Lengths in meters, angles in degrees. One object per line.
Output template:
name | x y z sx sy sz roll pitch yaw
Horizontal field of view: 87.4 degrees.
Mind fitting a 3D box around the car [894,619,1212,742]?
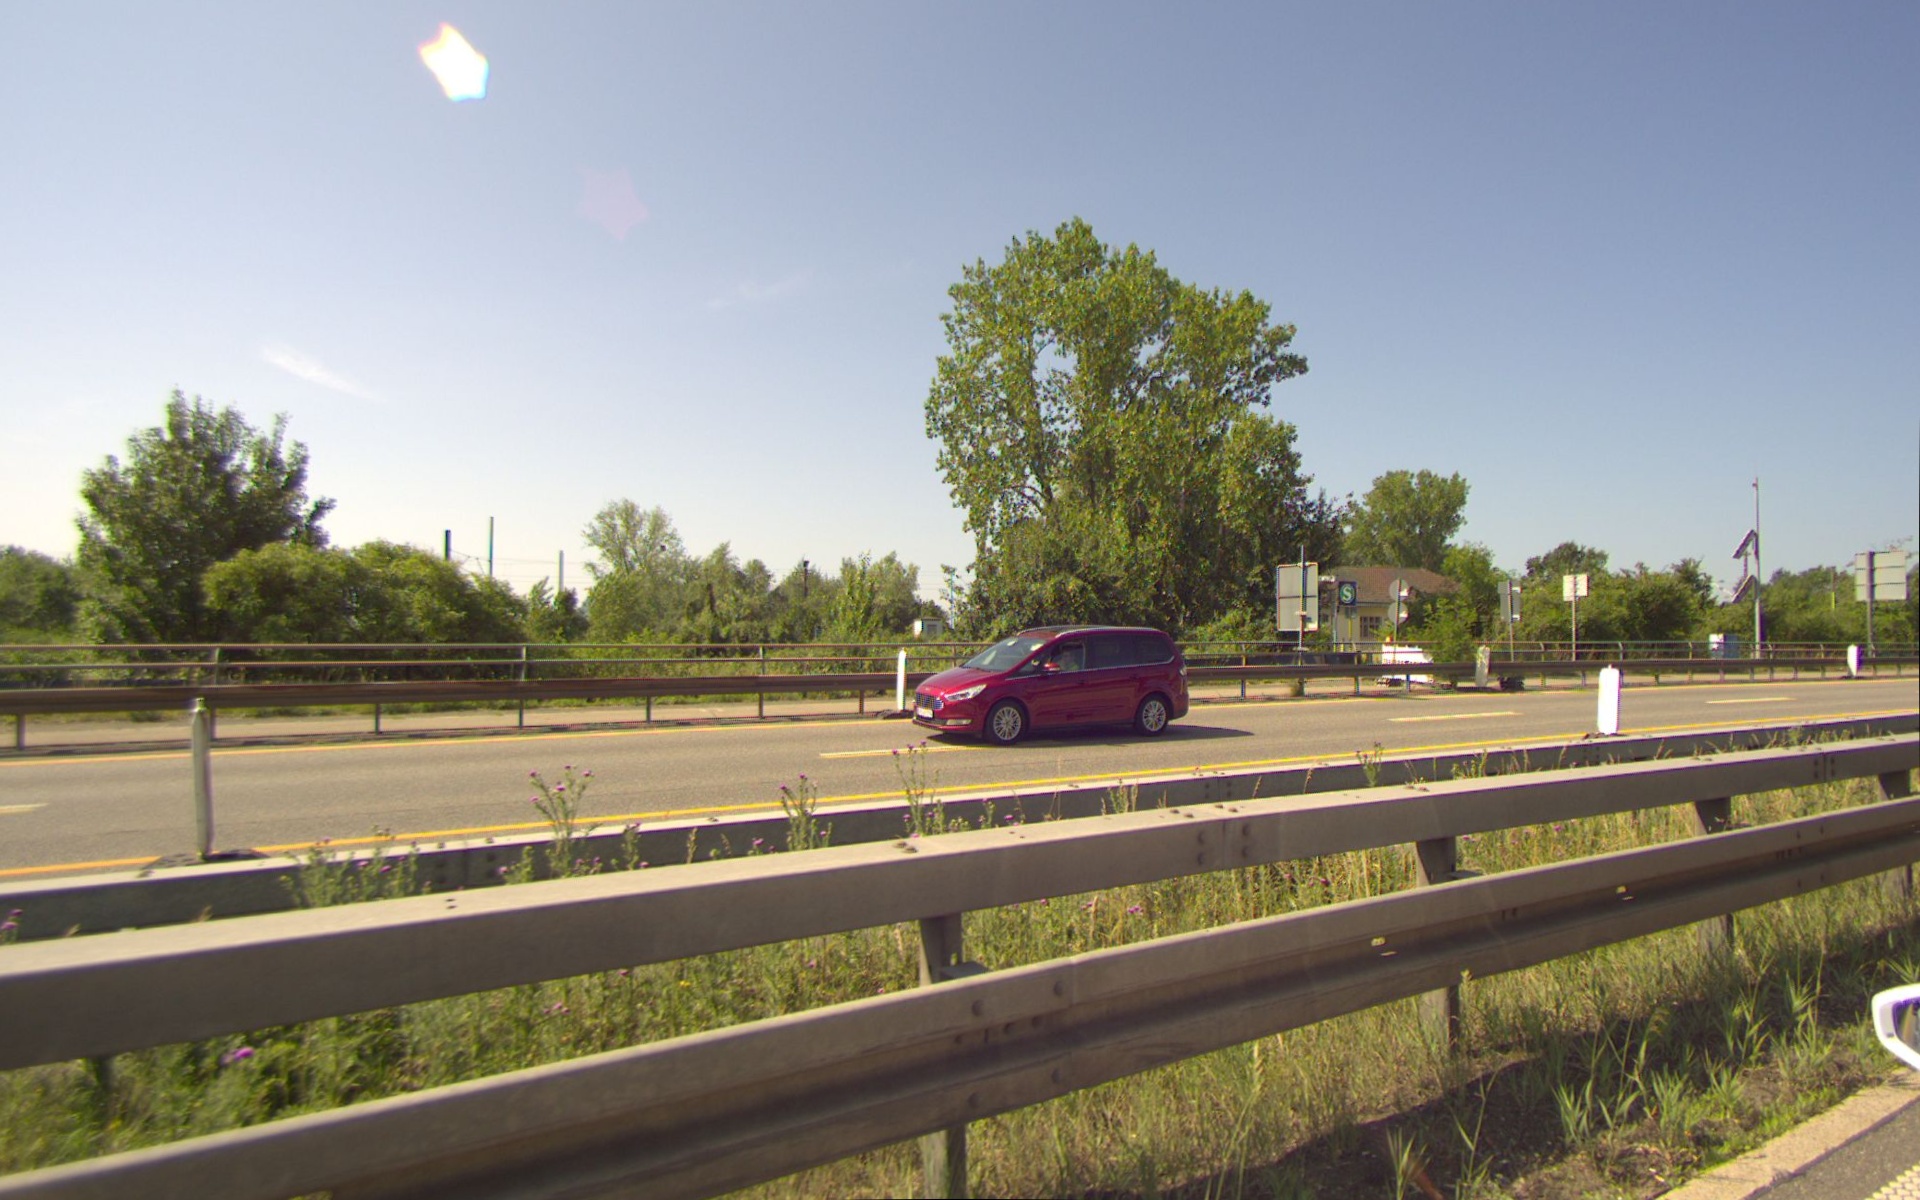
car | 1.561 1.215 16.330 4.958 1.757 1.902 1 -2 -28
